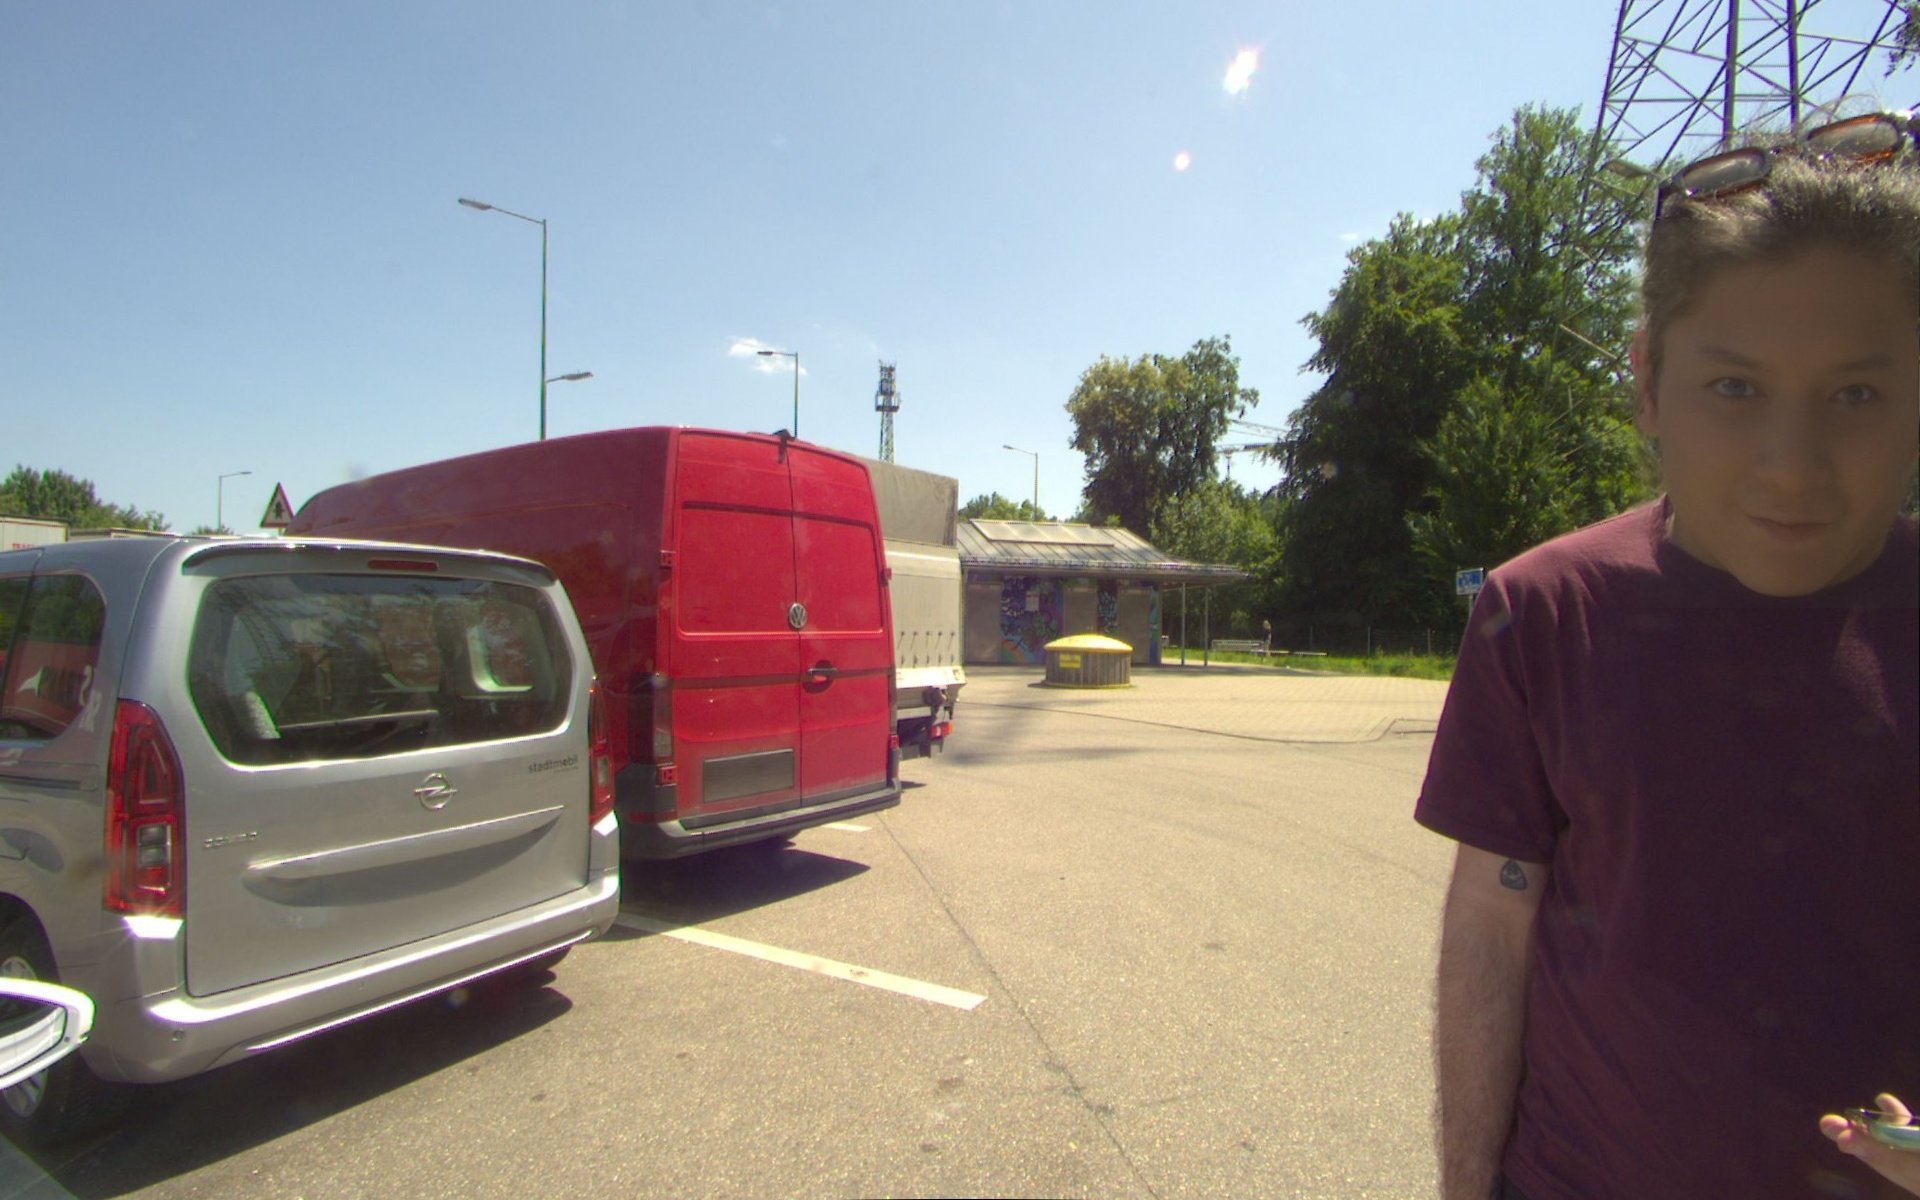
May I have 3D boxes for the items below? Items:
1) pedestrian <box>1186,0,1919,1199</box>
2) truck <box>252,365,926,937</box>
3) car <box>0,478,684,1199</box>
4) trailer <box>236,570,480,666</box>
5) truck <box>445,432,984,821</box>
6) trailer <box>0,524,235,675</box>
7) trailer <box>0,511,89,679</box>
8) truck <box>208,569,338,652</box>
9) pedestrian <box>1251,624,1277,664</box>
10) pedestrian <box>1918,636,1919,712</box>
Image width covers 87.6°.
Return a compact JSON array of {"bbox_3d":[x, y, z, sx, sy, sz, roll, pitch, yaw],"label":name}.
[{"bbox_3d":[0.728,0.549,0.796,0.848,1.857,0.861,-1,-1,30],"label":"pedestrian"},{"bbox_3d":[-2.875,0.331,7.040,5.238,2.655,1.972,-2,-2,38],"label":"truck"},{"bbox_3d":[-3.367,0.681,4.240,4.113,1.887,1.868,1,-2,31],"label":"car"},{"bbox_3d":[-26.088,0.642,42.893,14.184,3.552,2.808,2,-2,33],"label":"trailer"},{"bbox_3d":[-2.724,0.298,10.279,5.582,2.949,2.449,-2,-2,37],"label":"truck"},{"bbox_3d":[-27.941,-0.104,31.777,14.184,4.040,2.808,2,-2,33],"label":"trailer"},{"bbox_3d":[-29.004,-0.261,28.131,14.184,4.040,2.808,2,-2,33],"label":"trailer"},{"bbox_3d":[-32.083,0.464,46.749,5.813,3.566,2.799,2,-2,32],"label":"truck"},{"bbox_3d":[12.549,1.807,41.341,0.784,1.658,0.730,1,-2,-43],"label":"pedestrian"},{"bbox_3d":[17.271,1.310,17.471,0.690,1.352,0.561,-1,-1,33],"label":"pedestrian"}]
